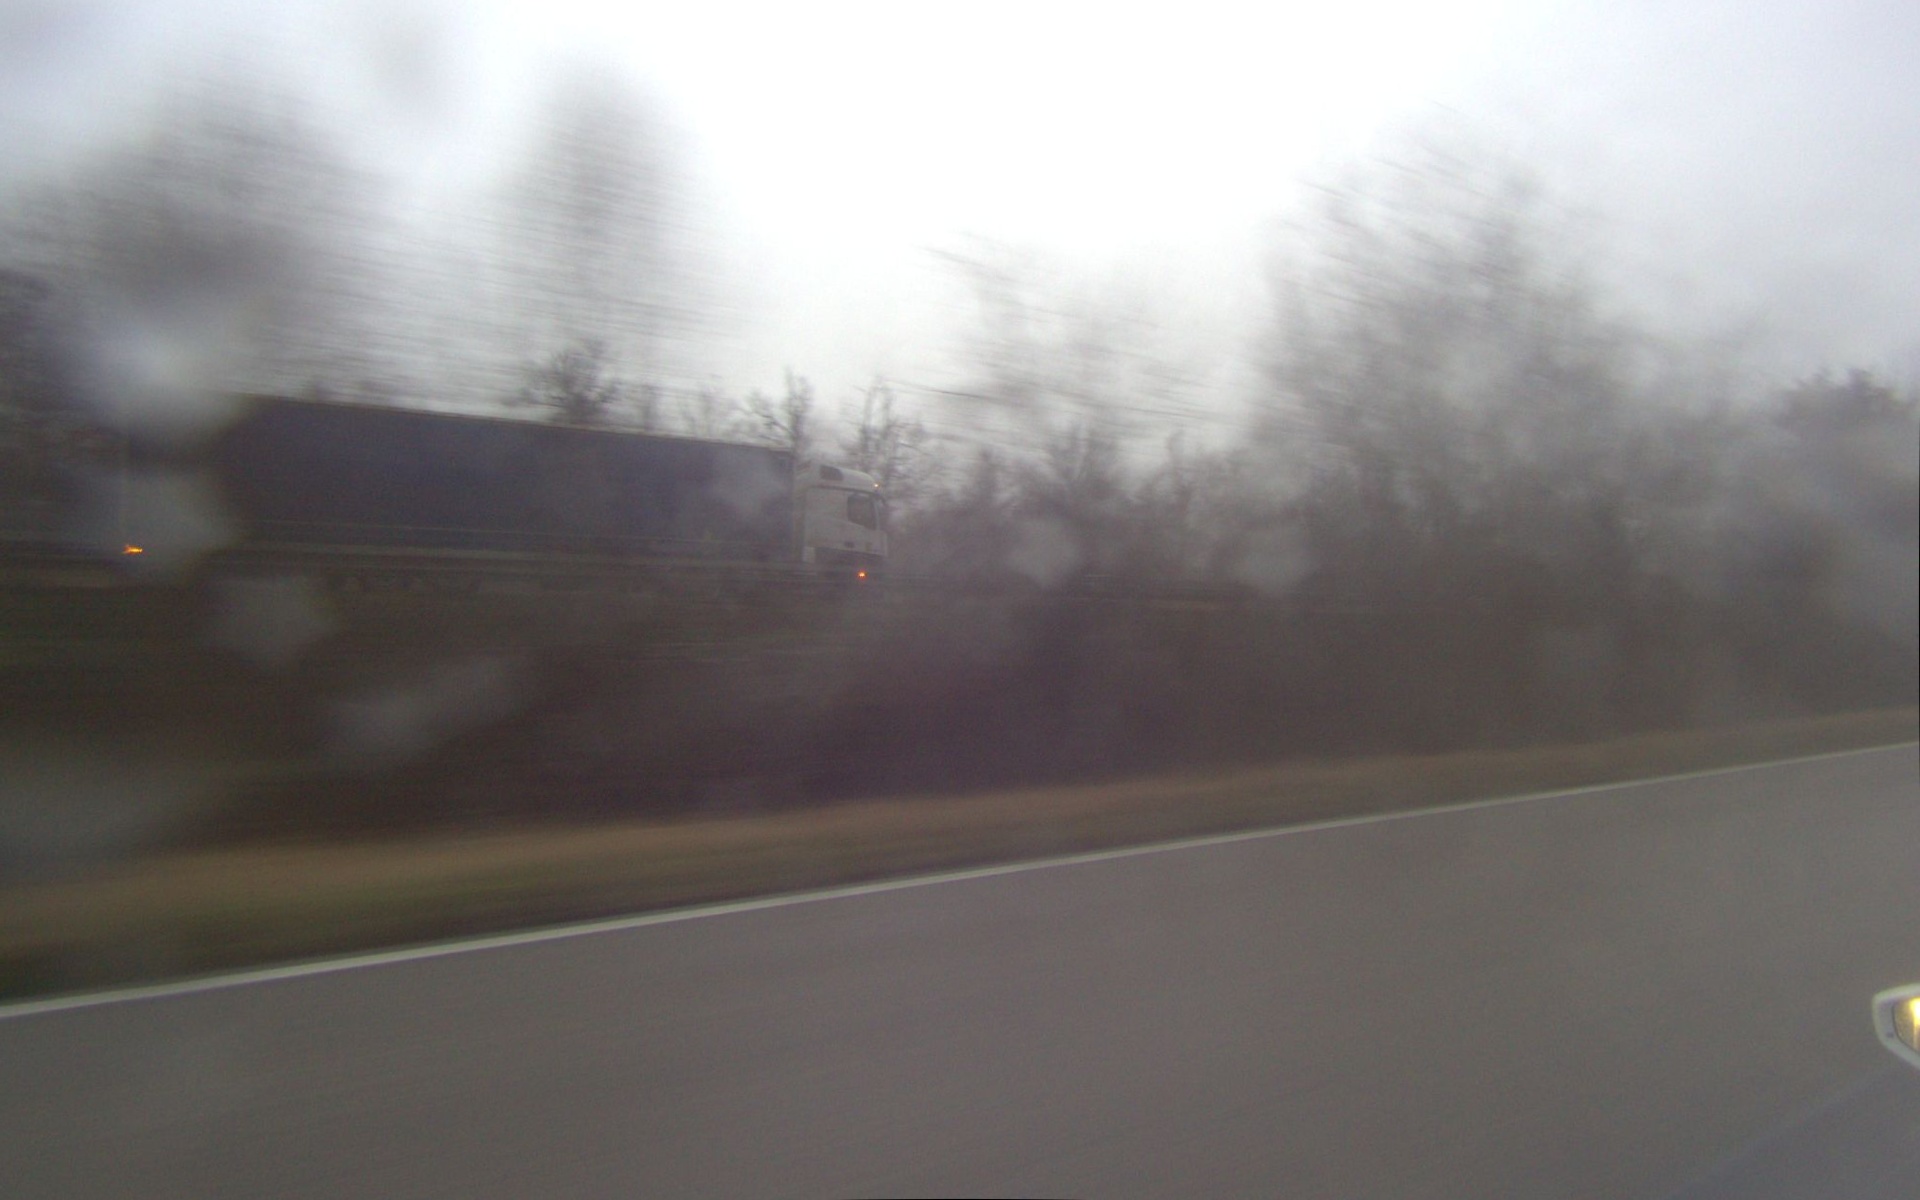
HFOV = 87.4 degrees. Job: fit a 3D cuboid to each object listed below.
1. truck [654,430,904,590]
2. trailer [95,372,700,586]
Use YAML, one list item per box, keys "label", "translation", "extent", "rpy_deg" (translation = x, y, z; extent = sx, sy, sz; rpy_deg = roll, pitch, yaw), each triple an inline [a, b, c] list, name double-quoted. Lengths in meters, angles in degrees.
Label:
- label: "truck"
  translation: [-4.828, -2.189, 27.000]
  extent: [5.996, 3.680, 2.978]
  rpy_deg: [1, -1, -31]
- label: "trailer"
  translation: [-11.896, -2.296, 22.776]
  extent: [11.254, 3.682, 2.984]
  rpy_deg: [1, -1, -31]
